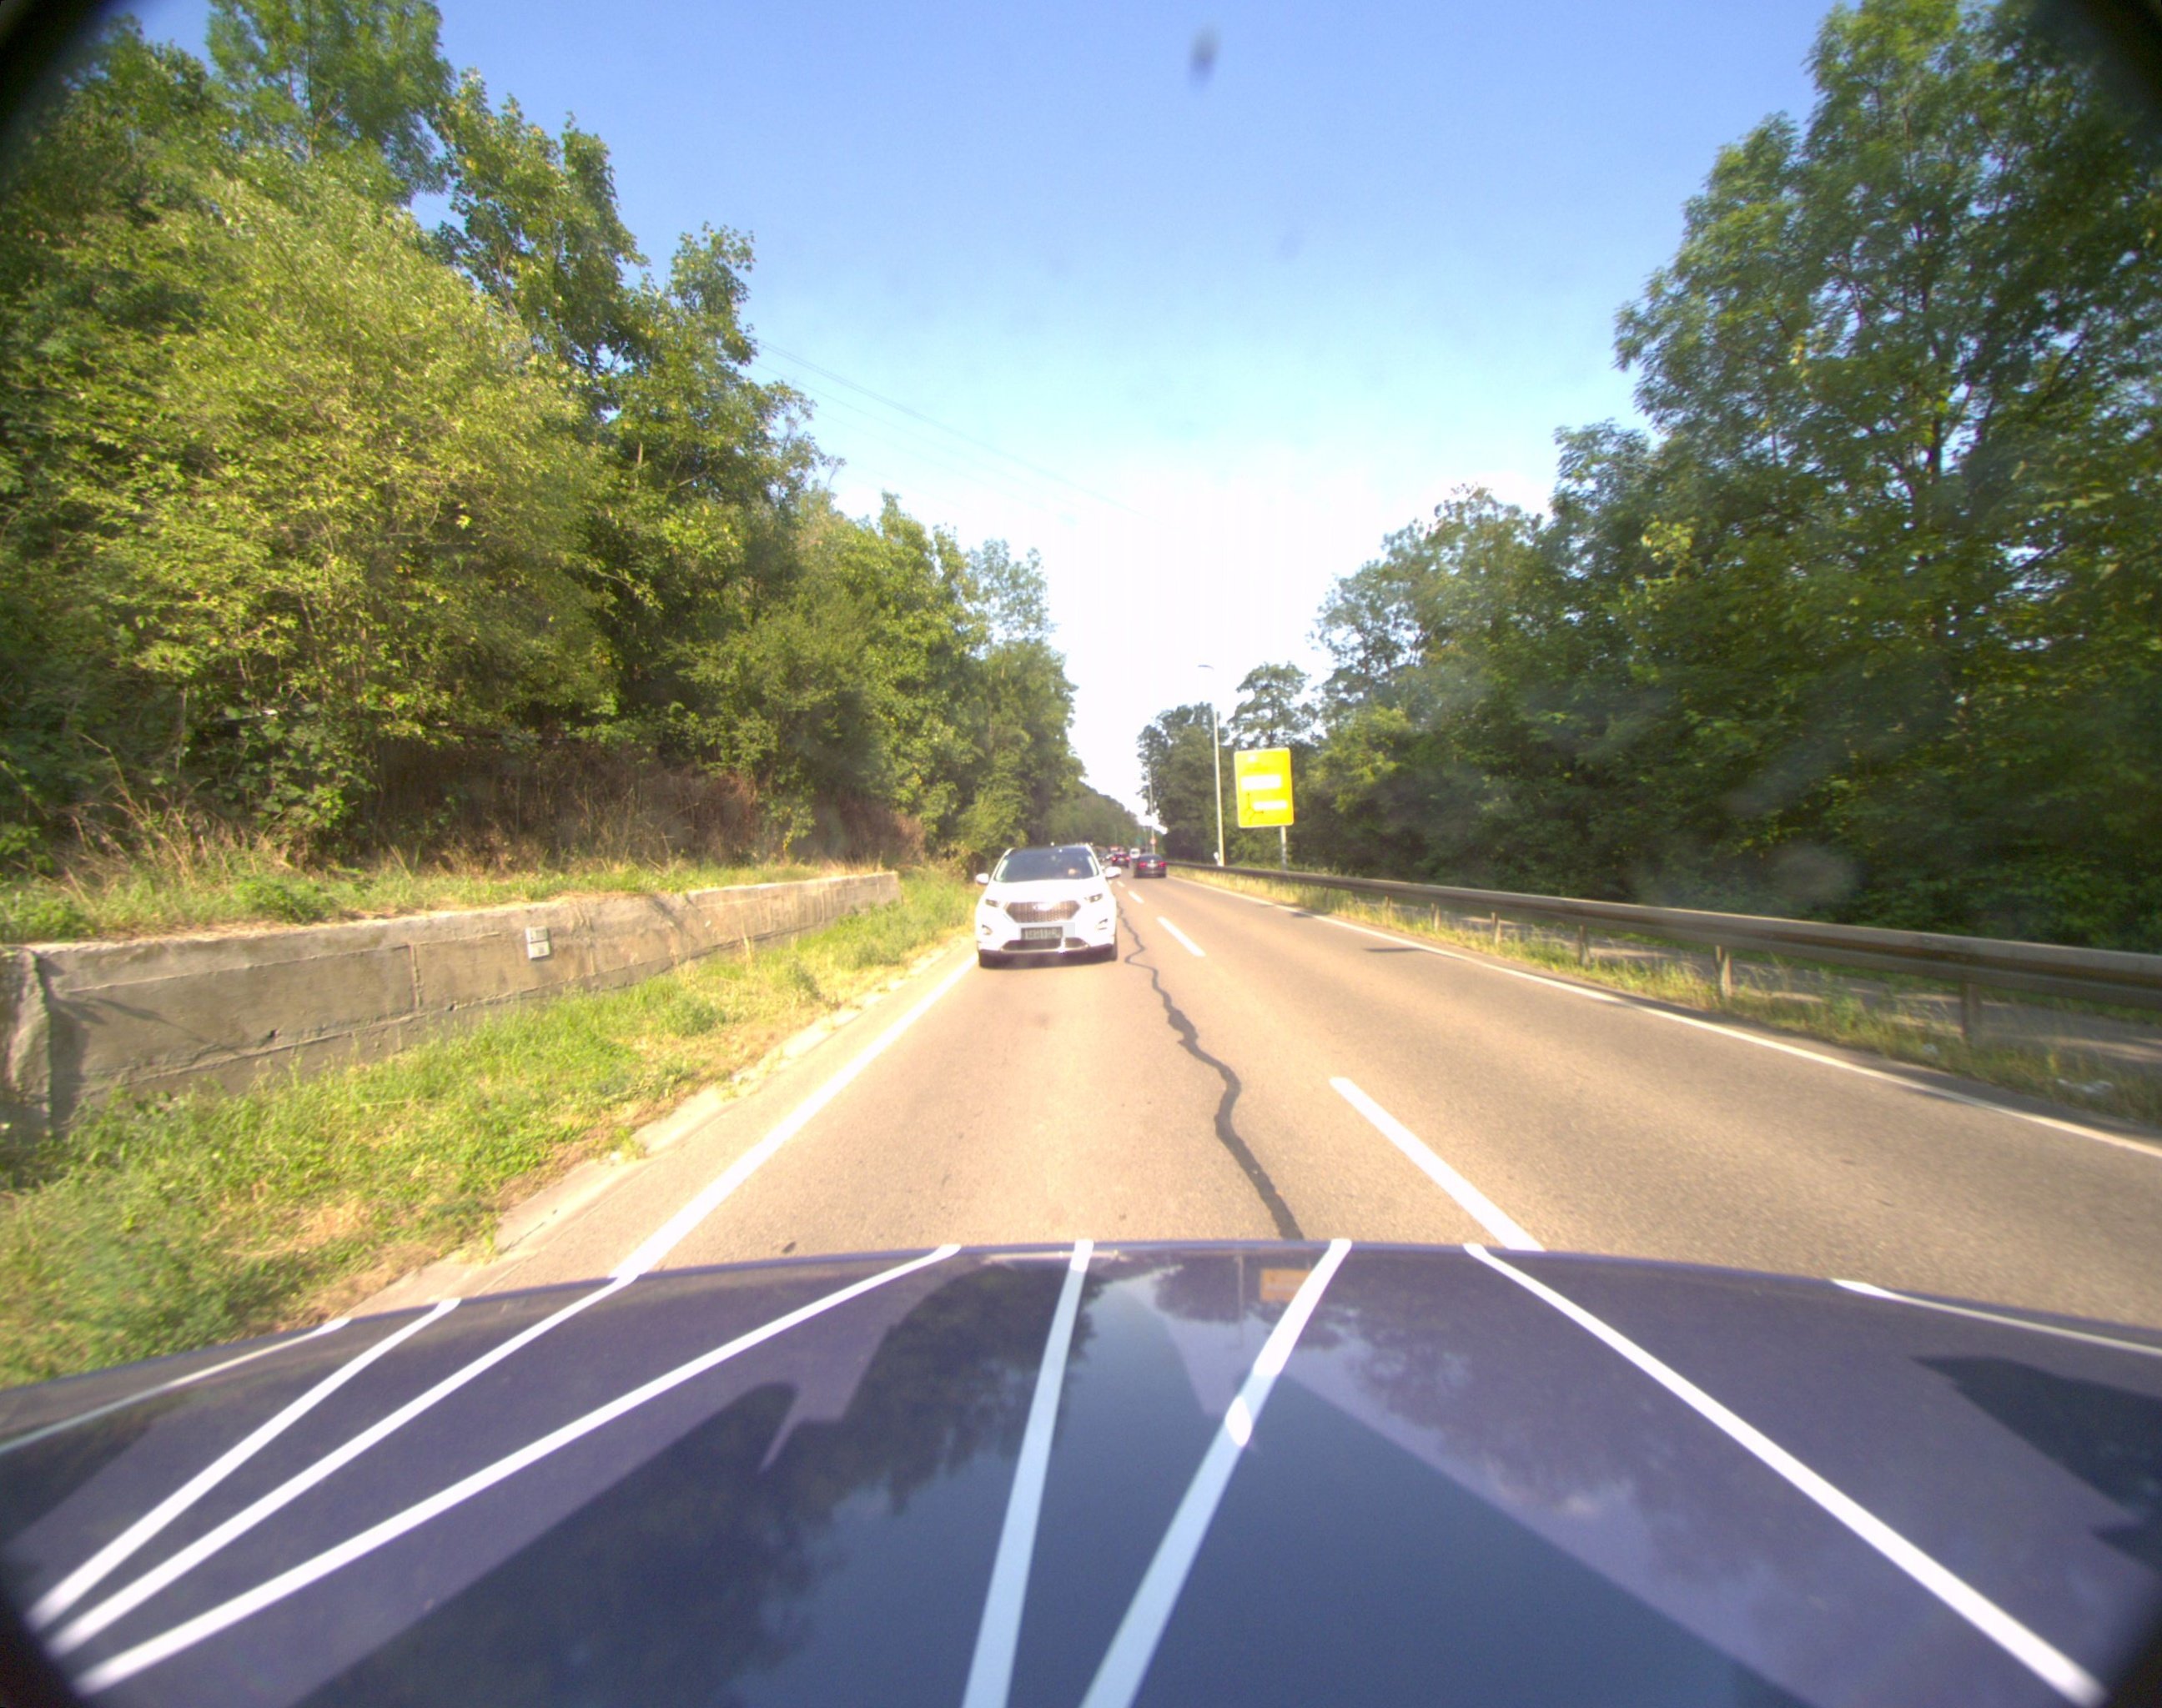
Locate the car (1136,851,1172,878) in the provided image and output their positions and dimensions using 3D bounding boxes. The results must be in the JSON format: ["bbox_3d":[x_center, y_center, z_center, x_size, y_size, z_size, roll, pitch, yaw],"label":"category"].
[{"bbox_3d":[4.192,0.585,44.217,1.696,1.412,4.142,-2,0,1],"label":"car"}]

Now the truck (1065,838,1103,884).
[{"bbox_3d":[0.213,0.347,42.784,1.894,2.334,5.273,-3,0,1],"label":"truck"}]

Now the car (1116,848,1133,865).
[{"bbox_3d":[4.625,0.255,81.547,1.752,1.707,4.221,-2,0,2],"label":"car"}]

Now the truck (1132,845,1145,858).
[{"bbox_3d":[12.117,-0.578,159.097,2.061,2.371,5.876,-3,1,9],"label":"truck"}]

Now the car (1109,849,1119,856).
[{"bbox_3d":[7.691,-0.347,176.062,1.997,1.647,4.002,-1,0,8],"label":"car"}]

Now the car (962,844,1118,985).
[{"bbox_3d":[-0.484,0.760,11.633,1.894,1.691,4.136,-3,0,1],"label":"car"}]

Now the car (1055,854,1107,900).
[{"bbox_3d":[0.033,0.780,27.881,1.704,1.477,4.136,-3,0,1],"label":"car"}]
